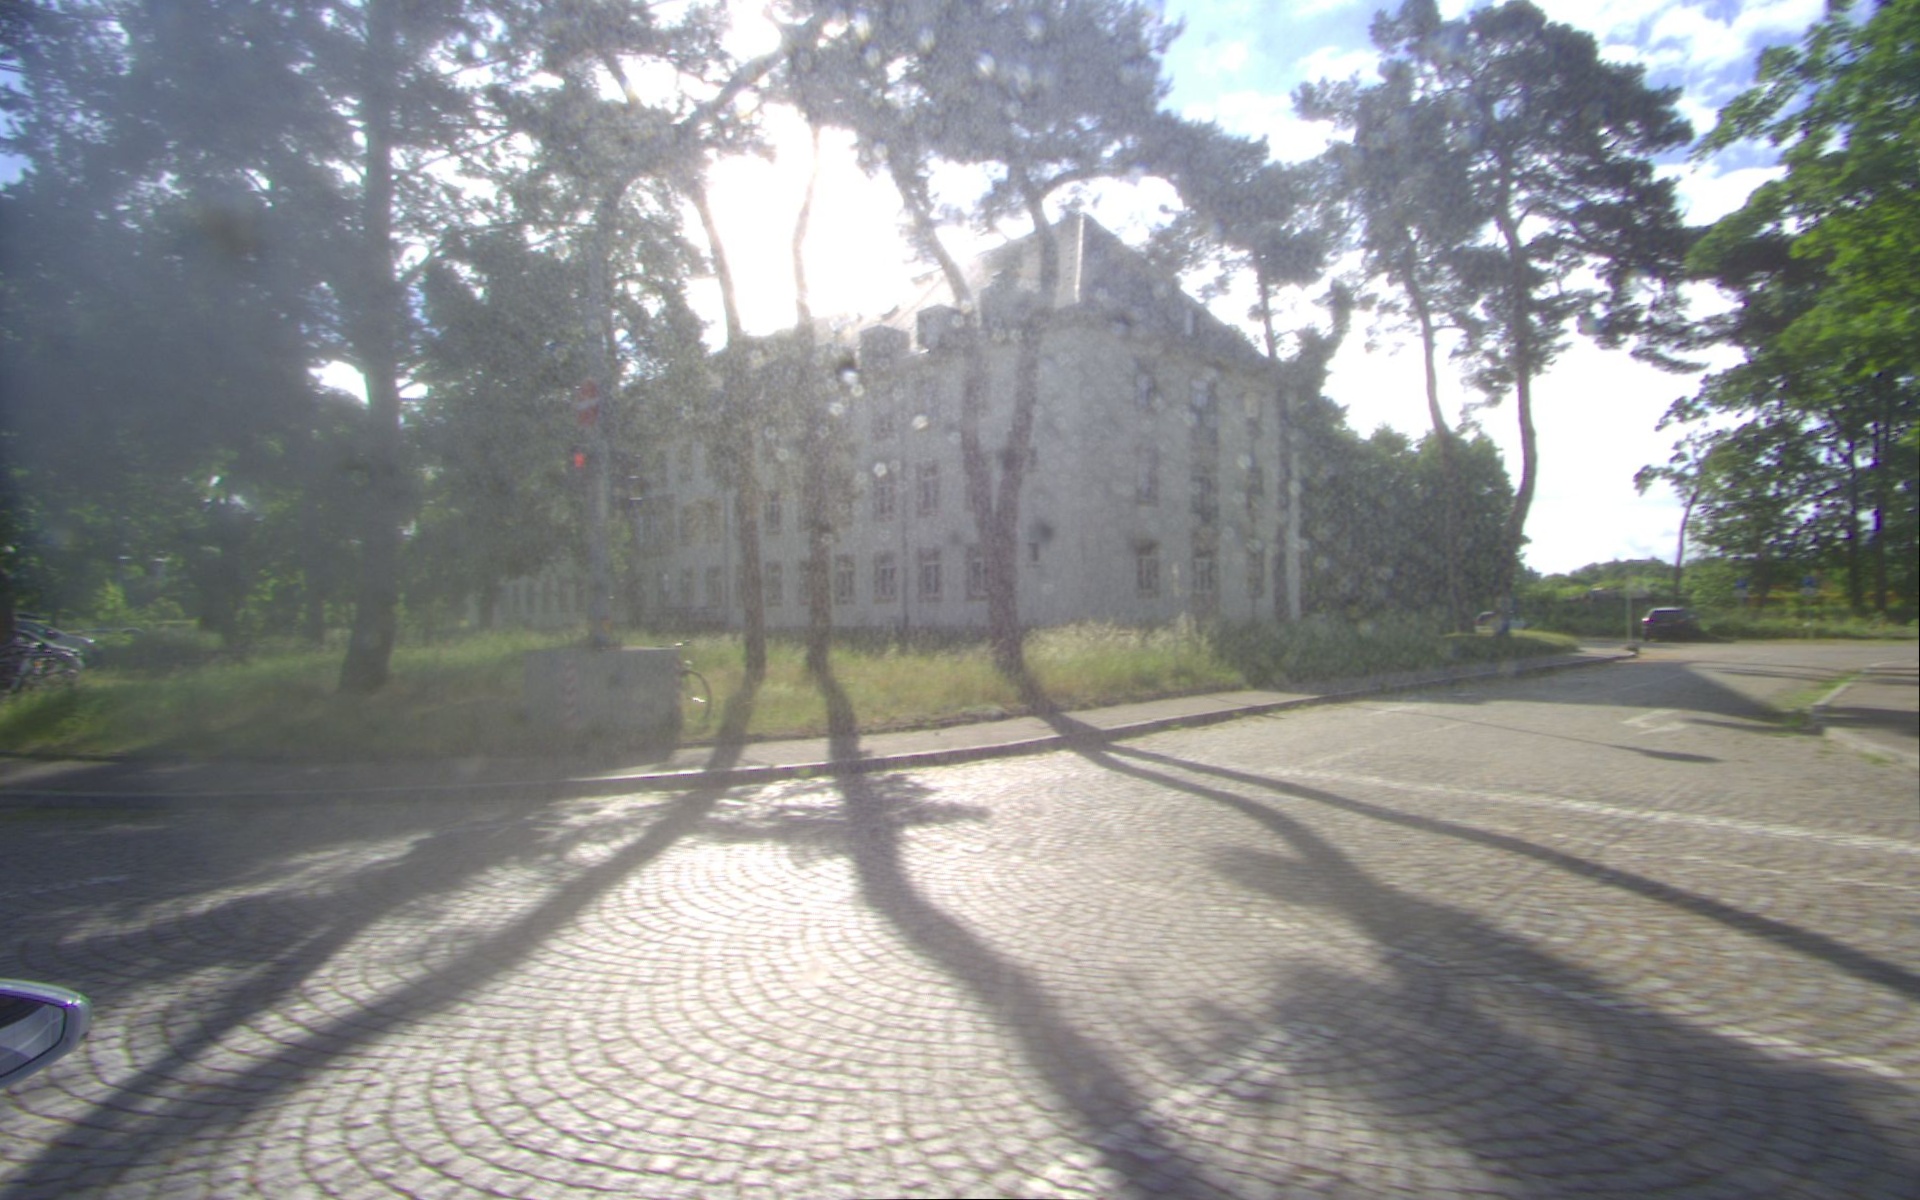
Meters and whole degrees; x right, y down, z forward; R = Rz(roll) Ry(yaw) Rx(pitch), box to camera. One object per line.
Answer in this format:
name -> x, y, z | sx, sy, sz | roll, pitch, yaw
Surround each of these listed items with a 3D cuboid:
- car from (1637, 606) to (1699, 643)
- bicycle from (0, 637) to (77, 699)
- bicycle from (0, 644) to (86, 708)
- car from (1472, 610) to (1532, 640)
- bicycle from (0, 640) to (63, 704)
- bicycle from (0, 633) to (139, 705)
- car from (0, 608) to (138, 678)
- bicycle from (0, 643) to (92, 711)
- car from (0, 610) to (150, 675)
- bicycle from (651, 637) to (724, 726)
car -> 32.574, 1.111, 46.028 | 1.836, 1.619, 3.965 | -1, -1, 43
bicycle -> -18.535, 1.324, 19.509 | 0.640, 1.144, 1.931 | -1, -1, 41
bicycle -> -16.375, 1.314, 17.311 | 0.742, 1.044, 1.844 | -1, -1, 43
car -> 28.096, 1.251, 51.895 | 1.827, 1.483, 3.965 | -1, -1, 43
bicycle -> -17.955, 1.347, 18.542 | 0.636, 1.144, 1.943 | -1, -1, 19
bicycle -> -16.813, 1.276, 18.950 | 0.480, 1.251, 1.930 | -1, 0, 43
car -> -28.830, 1.267, 30.178 | 2.445, 2.040, 5.906 | -1, -1, 39
bicycle -> -16.868, 1.373, 17.938 | 0.742, 1.144, 1.930 | -1, -1, 43
car -> -25.189, 1.132, 27.735 | 1.824, 1.706, 3.971 | -1, -1, 38
bicycle -> -3.557, 1.033, 13.025 | 0.462, 1.094, 1.164 | -1, -1, -40
